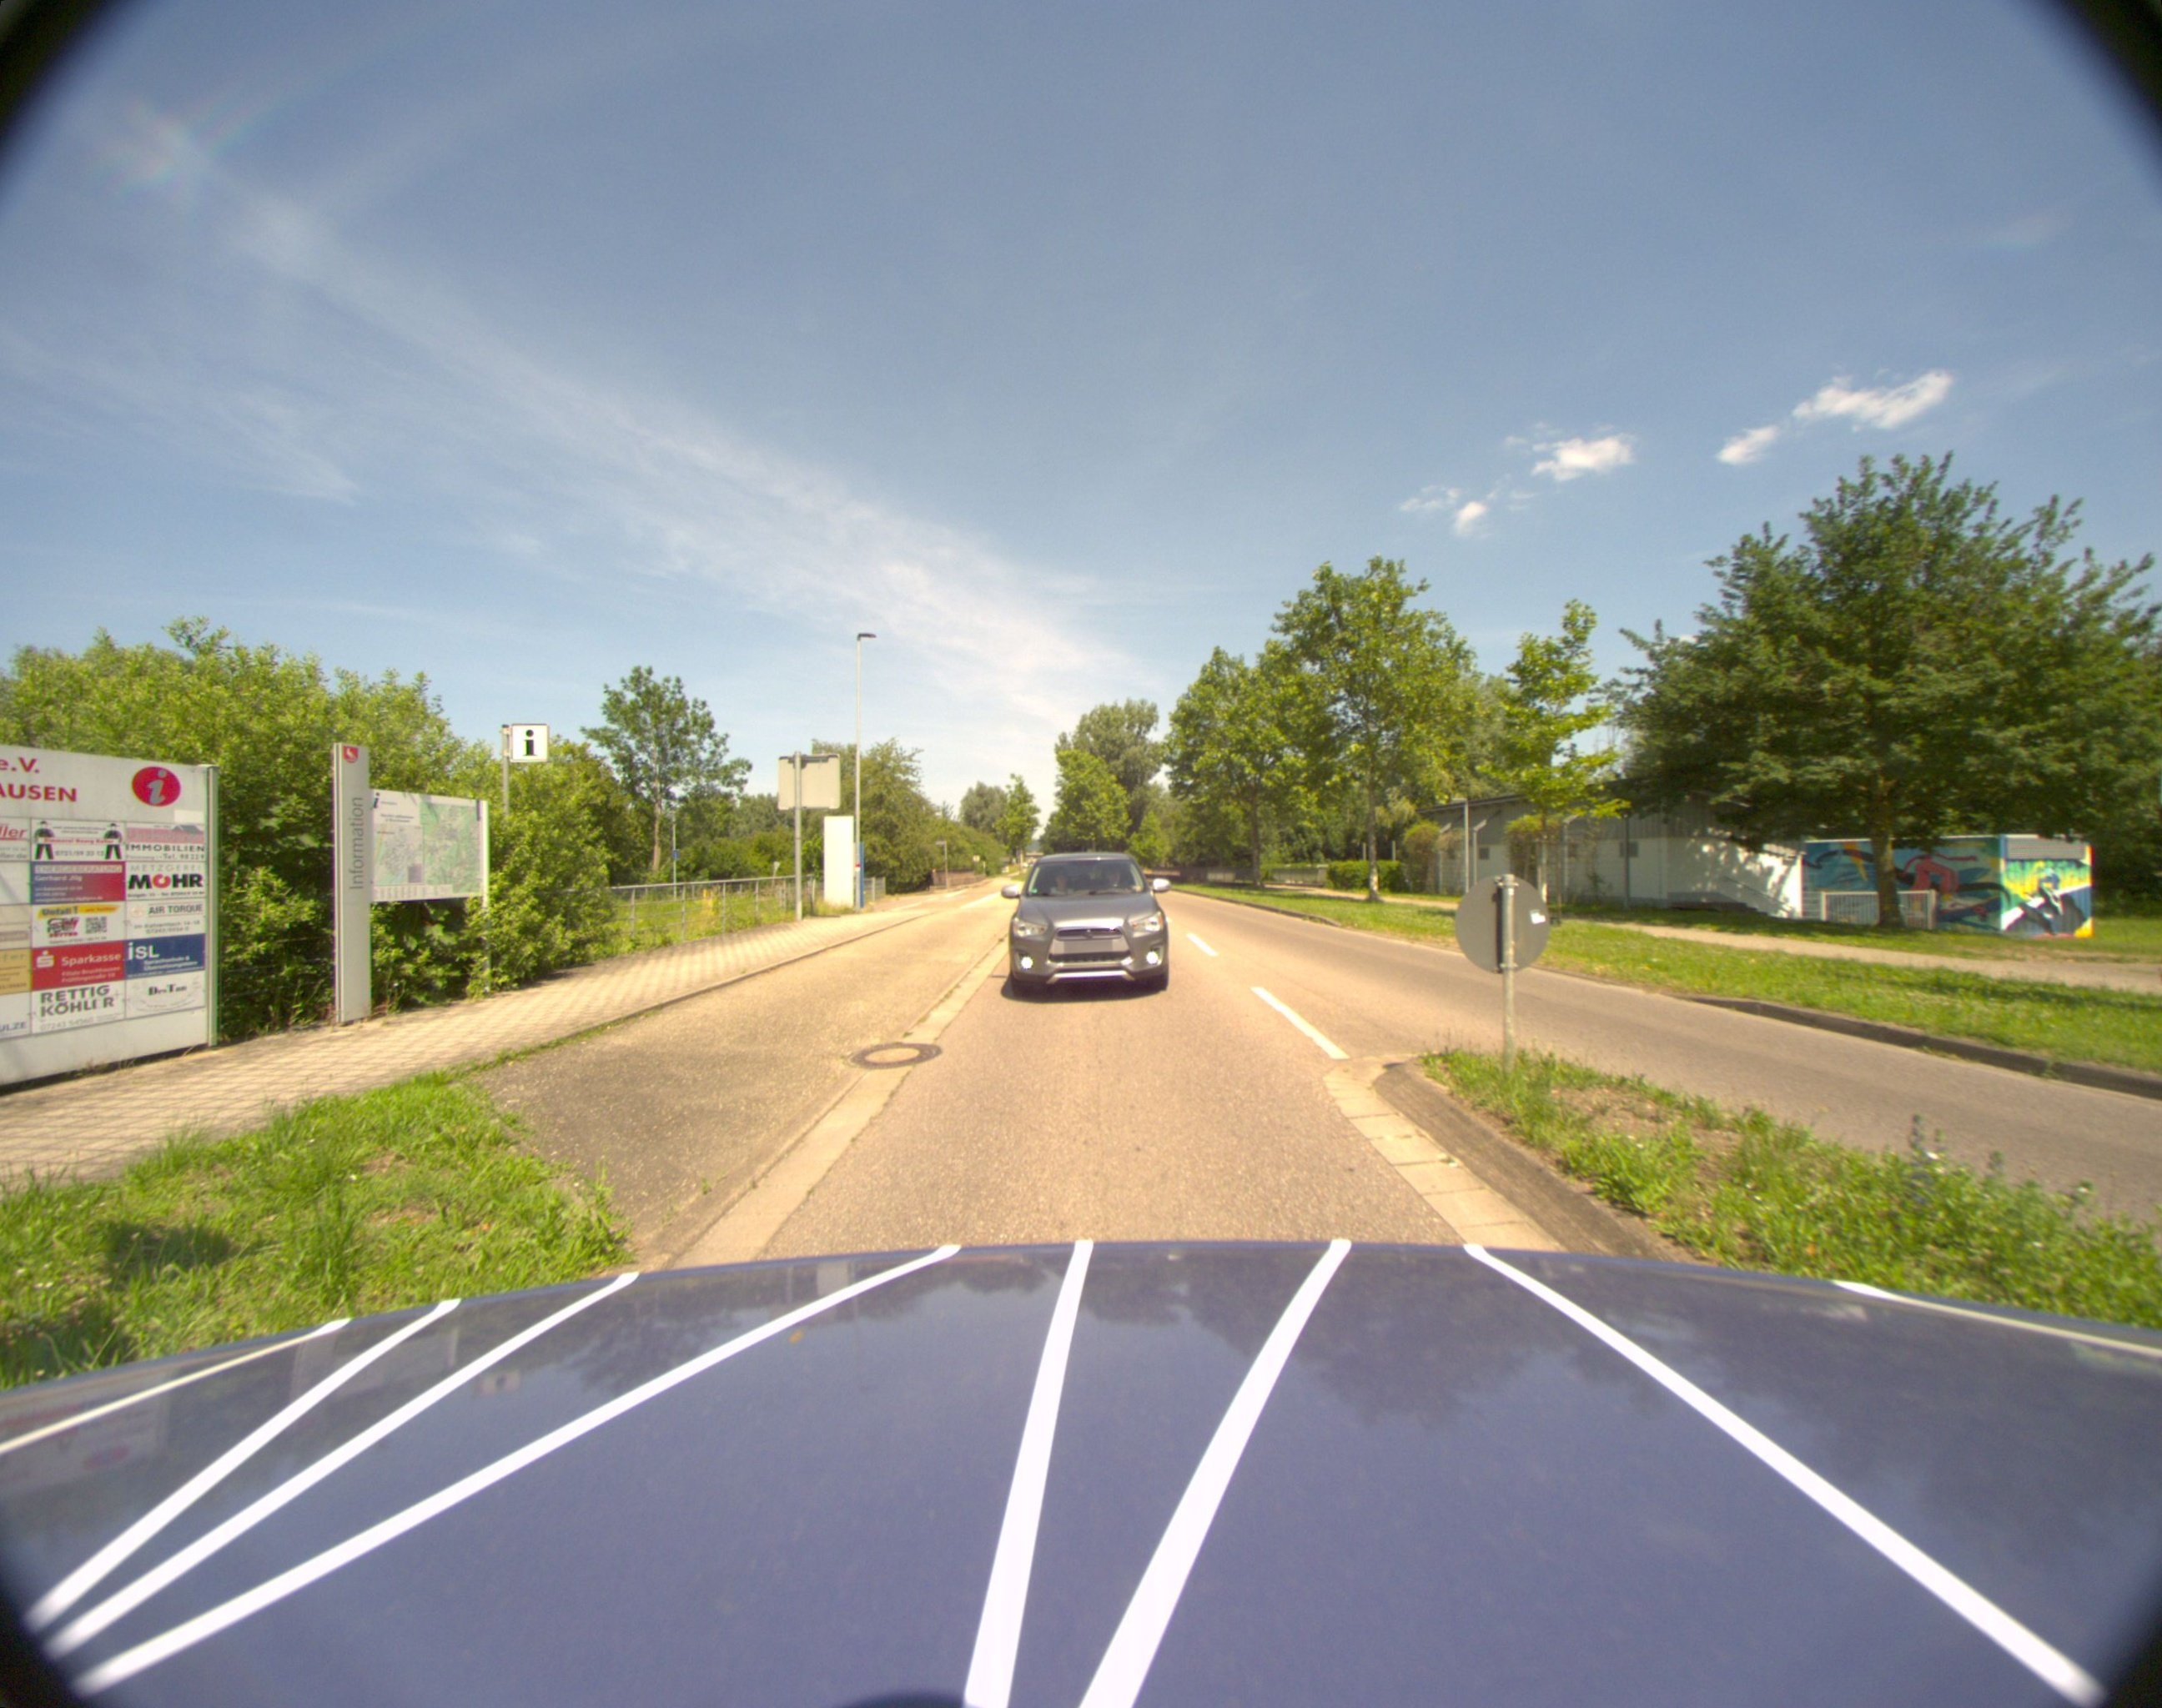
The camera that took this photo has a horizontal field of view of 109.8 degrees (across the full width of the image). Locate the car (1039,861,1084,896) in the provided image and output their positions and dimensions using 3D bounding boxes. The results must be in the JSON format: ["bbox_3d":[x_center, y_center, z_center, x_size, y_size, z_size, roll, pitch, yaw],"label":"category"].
[{"bbox_3d":[-0.904,1.036,33.545,1.677,1.342,3.829,-2,0,-5],"label":"car"}]

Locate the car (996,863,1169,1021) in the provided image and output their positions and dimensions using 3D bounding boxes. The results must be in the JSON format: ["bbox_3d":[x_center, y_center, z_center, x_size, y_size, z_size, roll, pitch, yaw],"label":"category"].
[{"bbox_3d":[-0.127,0.917,10.002,1.750,1.525,4.523,-1,0,-4],"label":"car"}]
